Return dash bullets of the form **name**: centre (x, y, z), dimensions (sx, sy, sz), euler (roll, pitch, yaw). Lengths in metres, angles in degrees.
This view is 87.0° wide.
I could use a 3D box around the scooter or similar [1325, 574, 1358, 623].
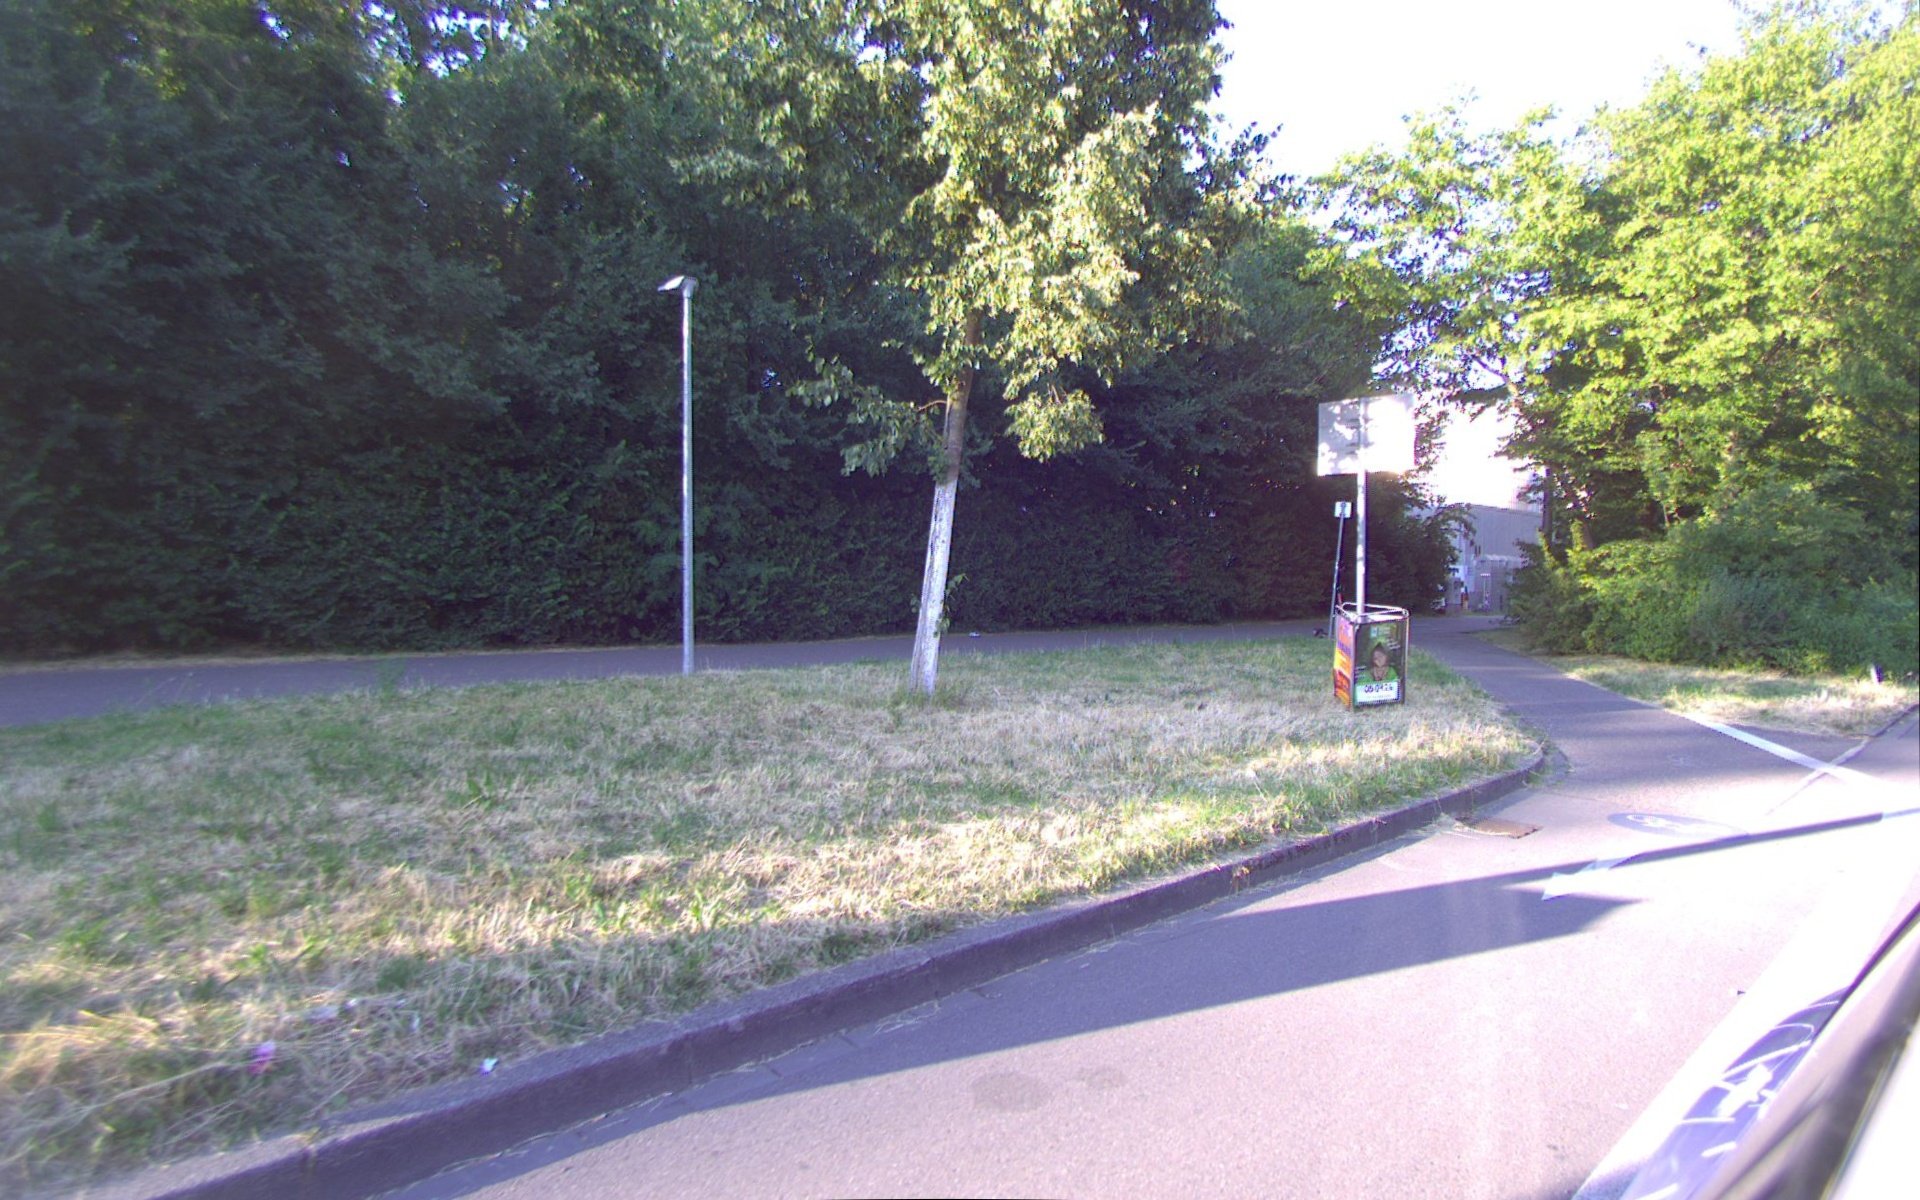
- **scooter or similar**: centre (8.582, -0.030, 22.765), dimensions (0.819, 1.100, 0.194), euler (0, -1, -27)
